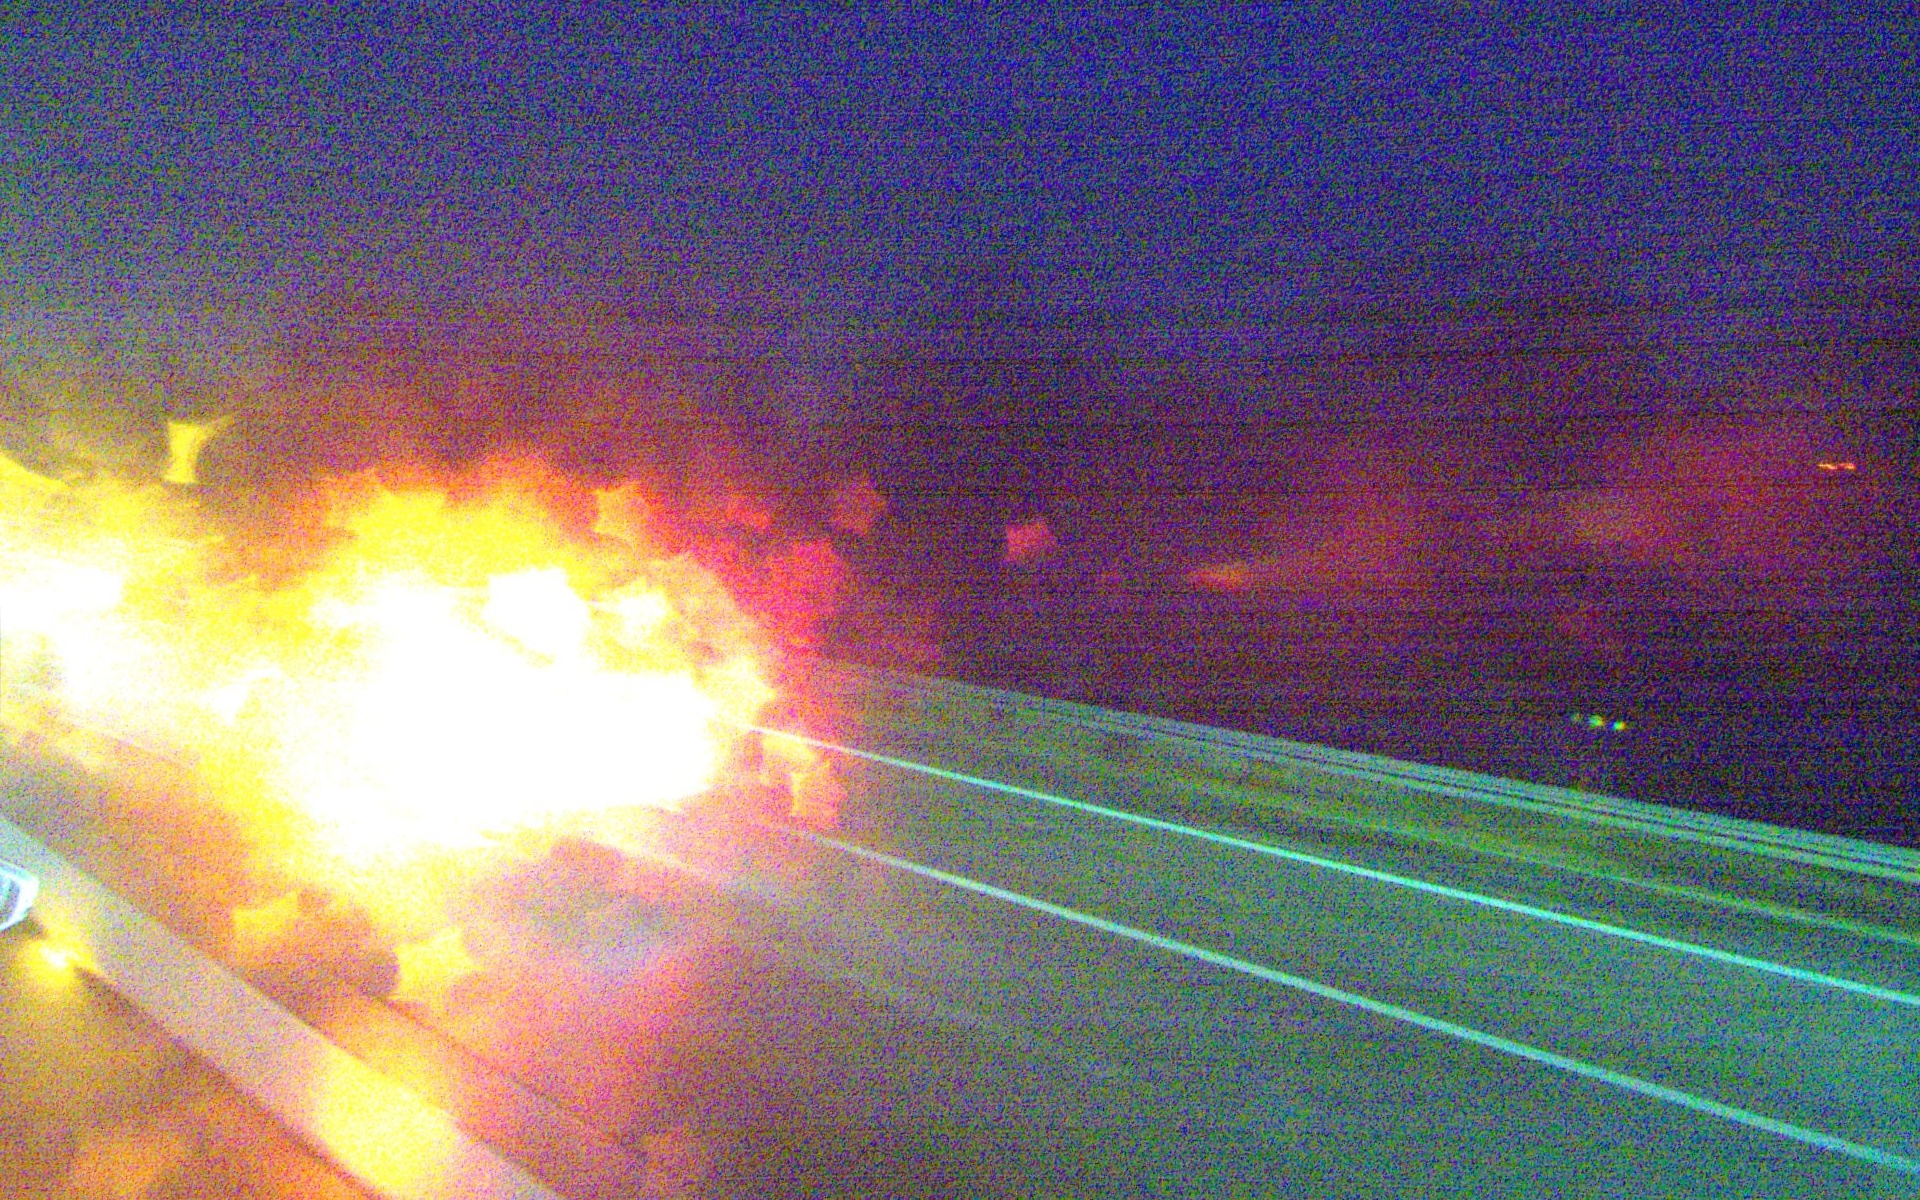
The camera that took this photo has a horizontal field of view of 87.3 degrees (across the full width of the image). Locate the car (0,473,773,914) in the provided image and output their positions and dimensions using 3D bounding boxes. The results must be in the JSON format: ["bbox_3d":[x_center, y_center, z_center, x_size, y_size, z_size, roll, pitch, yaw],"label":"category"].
[{"bbox_3d":[-3.757,0.287,6.052,4.931,1.537,2.062,7,-1,31],"label":"car"}]
